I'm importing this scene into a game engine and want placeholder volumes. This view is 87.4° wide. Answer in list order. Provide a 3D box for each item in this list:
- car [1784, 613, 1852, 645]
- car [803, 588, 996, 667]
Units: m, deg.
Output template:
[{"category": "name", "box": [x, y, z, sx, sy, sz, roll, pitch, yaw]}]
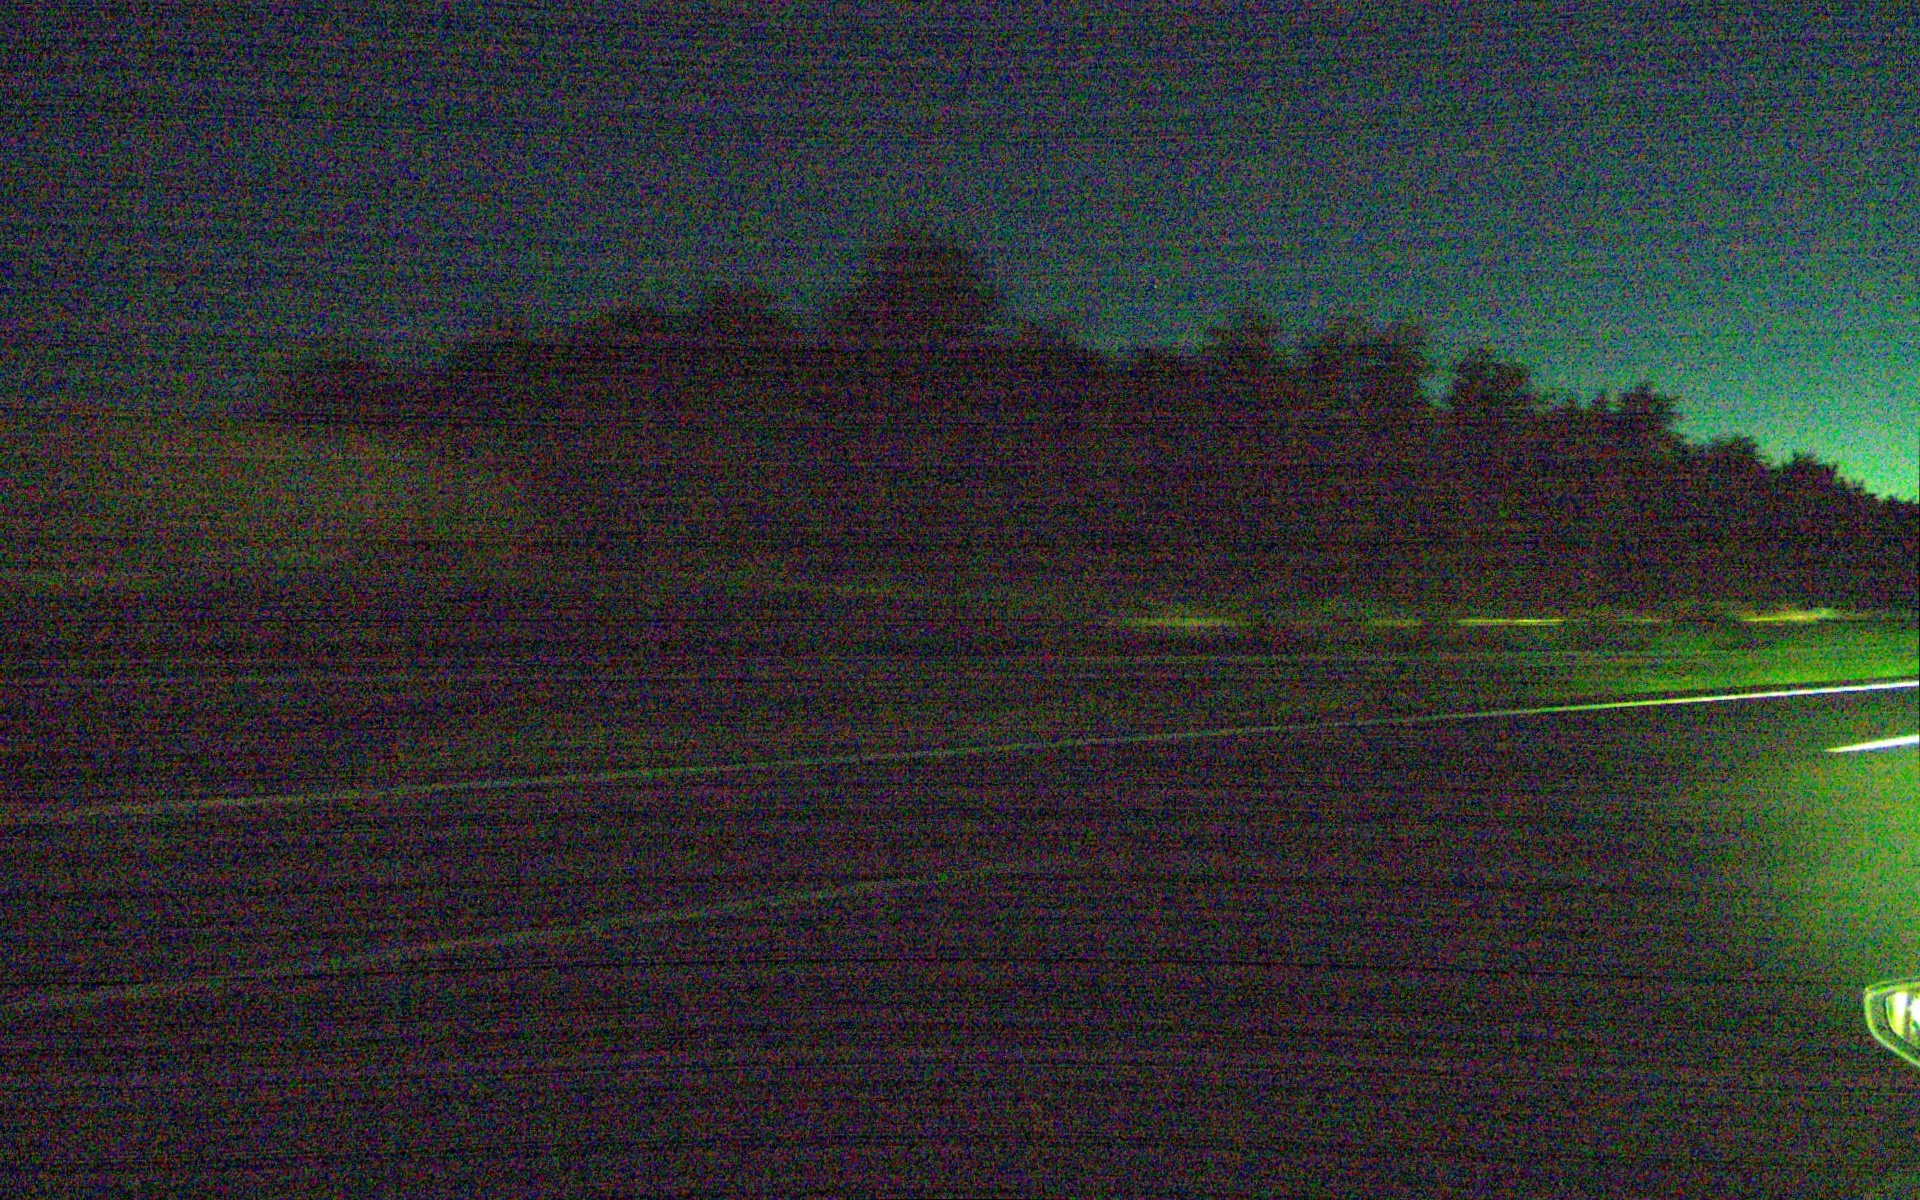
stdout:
[{"category": "car", "box": [49.689, 1.655, 58.176, 4.034, 1.749, 1.981, 1, 0, -34]}, {"category": "car", "box": [-1.571, 0.700, 26.325, 4.461, 1.900, 2.385, 1, -1, -31]}]
